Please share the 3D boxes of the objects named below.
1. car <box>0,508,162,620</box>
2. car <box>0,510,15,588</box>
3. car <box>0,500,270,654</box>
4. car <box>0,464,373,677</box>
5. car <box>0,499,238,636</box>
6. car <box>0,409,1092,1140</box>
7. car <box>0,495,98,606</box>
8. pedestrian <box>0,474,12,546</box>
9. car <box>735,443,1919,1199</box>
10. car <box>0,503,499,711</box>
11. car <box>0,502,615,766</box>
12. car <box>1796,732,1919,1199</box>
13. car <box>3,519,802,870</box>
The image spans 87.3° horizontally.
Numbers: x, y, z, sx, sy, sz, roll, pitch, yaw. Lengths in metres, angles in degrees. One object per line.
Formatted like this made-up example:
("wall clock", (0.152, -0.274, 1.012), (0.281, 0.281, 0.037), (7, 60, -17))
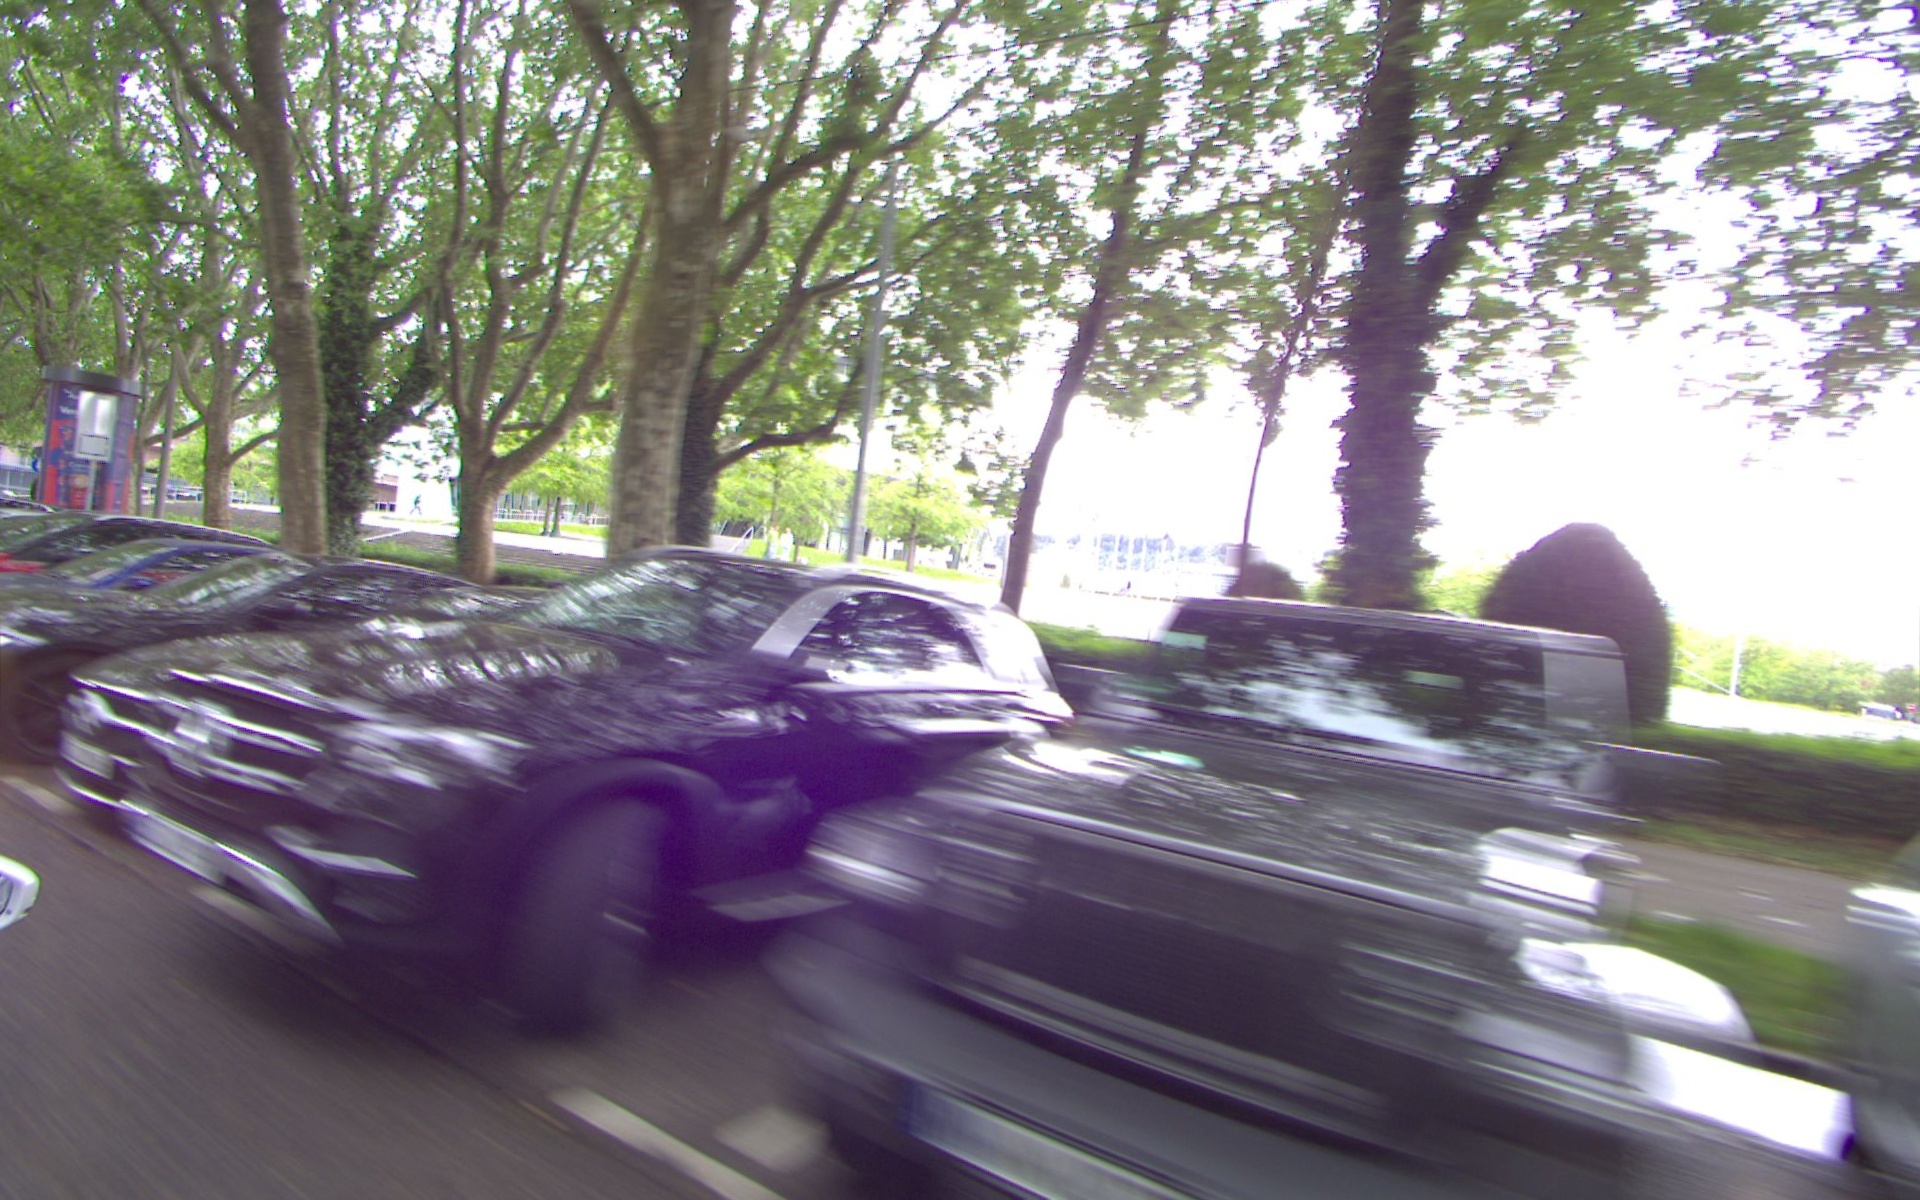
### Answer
("car", (-14.777, -0.720, 14.738), (1.894, 1.429, 4.355), (7, -2, 32))
("car", (-19.127, -1.211, 17.116), (1.715, 1.395, 4.049), (7, -2, 32))
("car", (-10.907, -0.359, 11.626), (1.891, 1.519, 4.360), (8, -2, 26))
("car", (-9.004, -0.309, 10.460), (2.011, 1.817, 4.510), (8, -2, 25))
("car", (-12.653, -0.555, 13.466), (1.893, 1.519, 4.356), (7, -2, 31))
("car", (-1.280, 0.565, 4.957), (2.013, 1.817, 4.505), (7, -2, 31))
("car", (-16.853, -1.063, 15.790), (1.842, 1.658, 4.599), (7, -2, 34))
("pedestrian", (-27.918, -2.631, 28.795), (0.587, 2.037, 0.788), (7, -1, 16))
("car", (1.497, 0.893, 3.926), (2.012, 1.887, 4.508), (7, -2, 28))
("car", (-6.850, 0.115, 9.106), (1.799, 1.436, 4.503), (7, -3, 33))
("car", (-5.113, 0.293, 7.504), (1.900, 1.444, 4.504), (7, -3, 32))
("car", (3.746, 1.288, 2.474), (2.015, 1.590, 4.501), (7, -2, 35))
("car", (-3.055, 0.574, 6.375), (1.711, 1.406, 3.990), (7, -2, 33))
